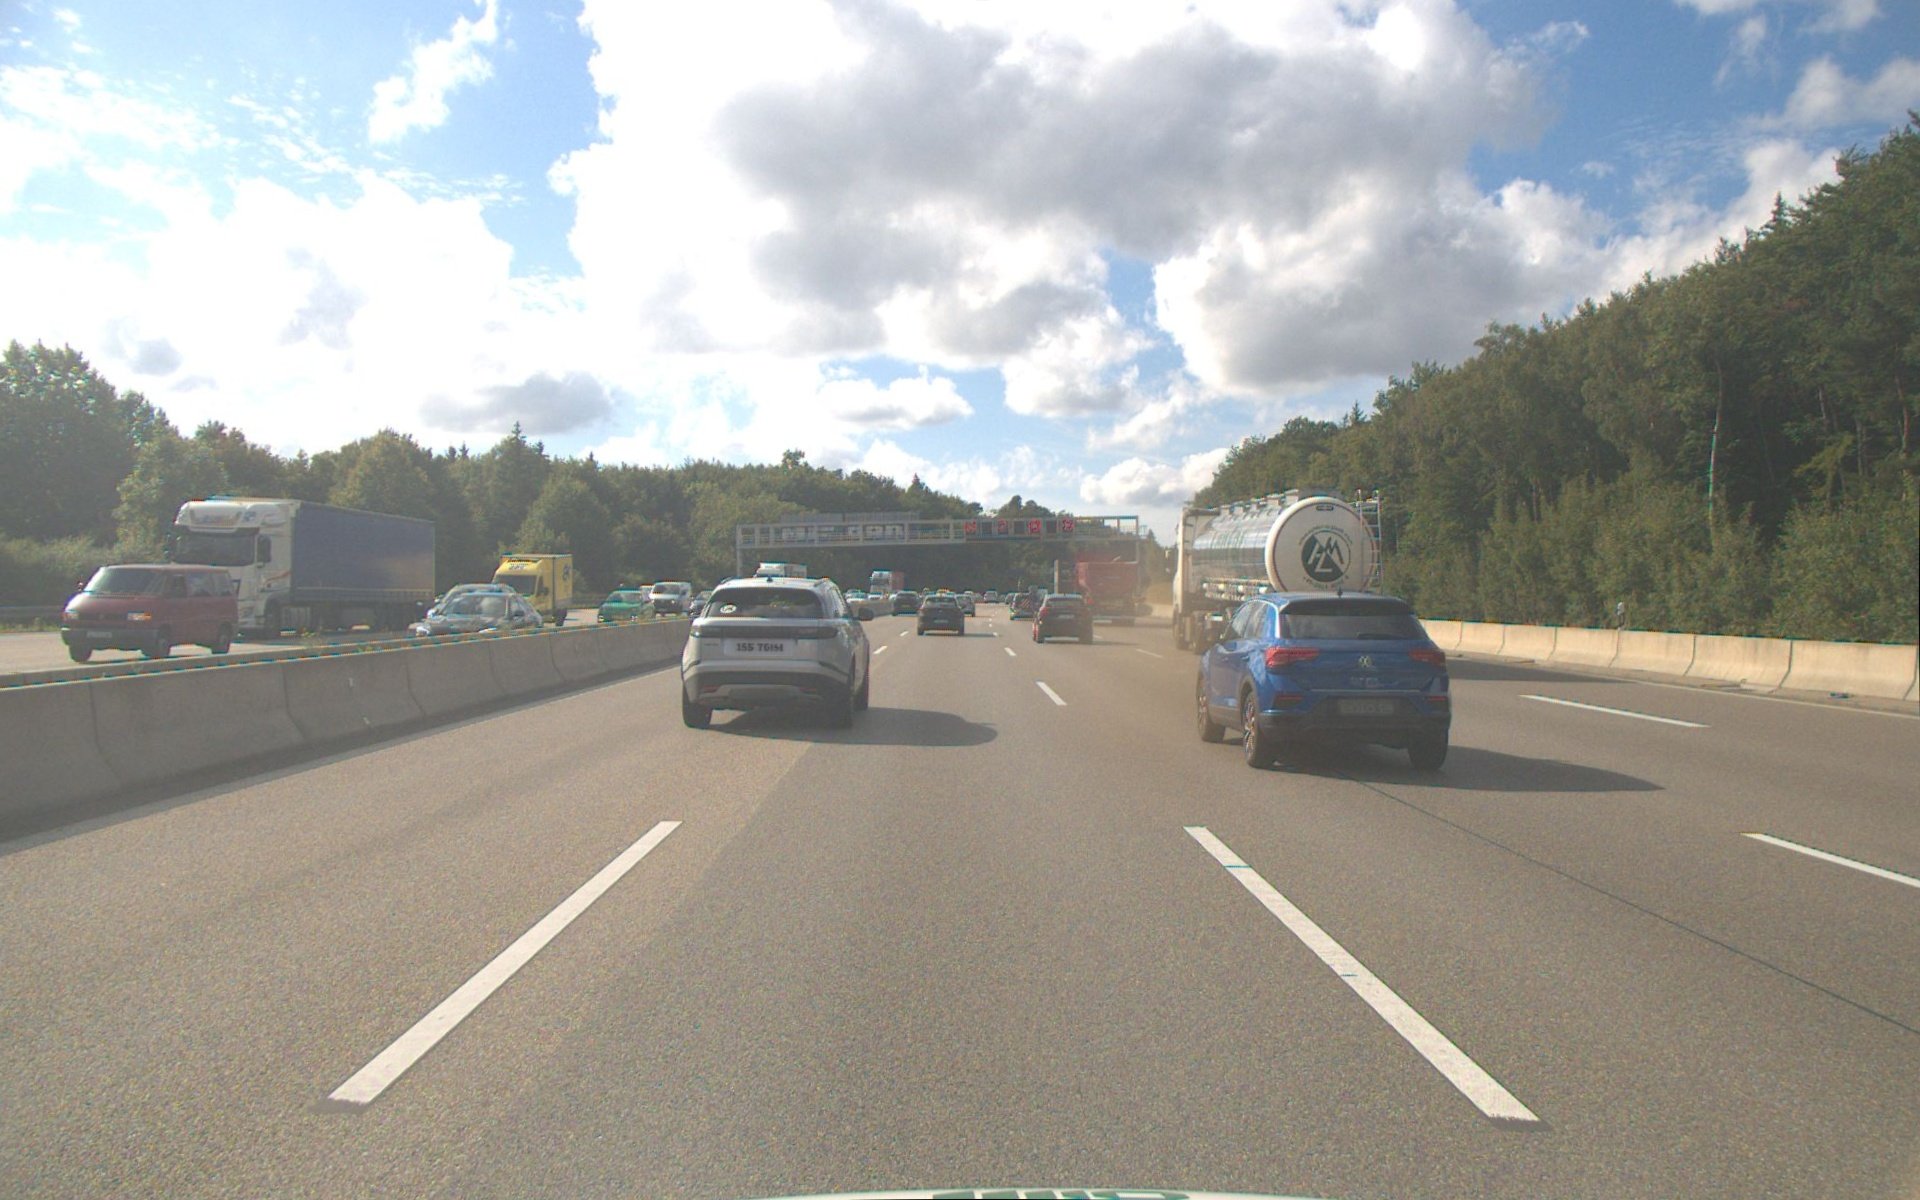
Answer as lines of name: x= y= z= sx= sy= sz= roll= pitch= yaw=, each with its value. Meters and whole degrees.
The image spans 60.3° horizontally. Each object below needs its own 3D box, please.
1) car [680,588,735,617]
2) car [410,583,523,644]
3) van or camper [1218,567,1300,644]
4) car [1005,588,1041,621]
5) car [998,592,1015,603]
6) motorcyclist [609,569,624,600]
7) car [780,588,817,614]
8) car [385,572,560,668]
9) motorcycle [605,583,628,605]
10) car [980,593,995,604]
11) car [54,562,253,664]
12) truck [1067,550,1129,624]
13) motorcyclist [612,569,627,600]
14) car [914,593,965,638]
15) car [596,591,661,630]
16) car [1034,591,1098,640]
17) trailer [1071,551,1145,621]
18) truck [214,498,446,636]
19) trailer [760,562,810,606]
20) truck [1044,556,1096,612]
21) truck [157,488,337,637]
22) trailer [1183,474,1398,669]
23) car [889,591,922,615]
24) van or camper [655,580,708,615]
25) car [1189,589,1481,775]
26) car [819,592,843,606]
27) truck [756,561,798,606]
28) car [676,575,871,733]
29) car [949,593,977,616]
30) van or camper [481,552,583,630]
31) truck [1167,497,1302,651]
car: x=-13.584 y=0.127 z=89.143 sx=2.126 sy=1.496 sz=4.787 roll=0 pitch=0 yaw=1
car: x=-14.059 y=0.350 z=47.407 sx=1.806 sy=1.624 sz=4.913 roll=-1 pitch=0 yaw=-1
van or camper: x=9.575 y=0.160 z=53.350 sx=1.785 sy=2.348 sz=4.939 roll=0 pitch=0 yaw=0
car: x=3.666 y=0.244 z=96.516 sx=1.855 sy=1.889 sz=4.099 roll=1 pitch=0 yaw=-1
car: x=6.067 y=-0.321 z=217.731 sx=2.034 sy=1.483 sz=4.000 roll=-1 pitch=0 yaw=0
motorcyclist: x=-16.656 y=-0.765 z=80.221 sx=0.590 sy=1.502 sz=0.532 roll=1 pitch=-1 yaw=1
car: x=-9.758 y=0.048 z=100.238 sx=1.825 sy=1.579 sz=4.661 roll=0 pitch=0 yaw=-1
car: x=-10.473 y=0.386 z=36.007 sx=2.126 sy=1.911 sz=5.362 roll=-1 pitch=0 yaw=1
motorcycle: x=-16.670 y=-0.296 z=80.235 sx=0.597 sy=1.058 sz=2.175 roll=0 pitch=0 yaw=1
car: x=3.868 y=-0.258 z=230.289 sx=2.034 sy=1.483 sz=4.001 roll=-1 pitch=0 yaw=1
car: x=-16.827 y=0.240 z=34.828 sx=1.809 sy=1.974 sz=5.032 roll=0 pitch=0 yaw=-1
truck: x=7.300 y=-0.709 z=88.123 sx=2.655 sy=3.783 sz=5.816 roll=1 pitch=1 yaw=-1
motorcyclist: x=-16.647 y=-0.762 z=80.831 sx=0.590 sy=1.502 sz=0.532 roll=1 pitch=-1 yaw=1
car: x=-0.783 y=0.554 z=60.594 sx=1.786 sy=1.573 sz=3.998 roll=0 pitch=0 yaw=-2
car: x=-13.487 y=0.407 z=67.475 sx=1.747 sy=1.496 sz=4.331 roll=-1 pitch=0 yaw=0
car: x=3.346 y=0.466 z=52.769 sx=1.785 sy=1.483 sz=4.000 roll=0 pitch=0 yaw=0
trailer: x=7.352 y=-0.732 z=83.235 sx=2.655 sy=3.287 sz=9.731 roll=1 pitch=1 yaw=-1
truck: x=-21.235 y=-1.041 z=57.016 sx=2.762 sy=4.166 sz=13.843 roll=0 pitch=0 yaw=0
trailer: x=-17.367 y=-1.572 z=165.279 sx=3.249 sy=4.178 sz=14.156 roll=0 pitch=0 yaw=1
truck: x=8.123 y=-1.171 z=123.797 sx=3.055 sy=4.003 sz=10.409 roll=0 pitch=0 yaw=-1
truck: x=-21.167 y=-1.077 z=49.467 sx=2.762 sy=4.166 sz=6.061 roll=0 pitch=0 yaw=-1
trailer: x=7.345 y=-0.596 z=38.678 sx=2.595 sy=3.833 sz=11.859 roll=0 pitch=0 yaw=0
car: x=-3.557 y=0.179 z=108.612 sx=1.902 sy=1.483 sz=4.000 roll=-1 pitch=0 yaw=1
van or camper: x=-16.144 y=-0.160 z=96.084 sx=1.952 sy=1.971 sz=5.459 roll=0 pitch=0 yaw=2
car: x=3.451 y=0.675 z=16.084 sx=1.737 sy=1.557 sz=4.456 roll=0 pitch=0 yaw=-1
car: x=-11.887 y=-0.096 z=152.292 sx=1.774 sy=1.181 sz=4.515 roll=0 pitch=0 yaw=1
truck: x=-17.461 y=-1.534 z=158.200 sx=3.249 sy=4.178 sz=6.225 roll=0 pitch=0 yaw=1
car: x=-2.096 y=0.556 z=19.992 sx=1.966 sy=1.644 sz=5.298 roll=0 pitch=0 yaw=-3
car: x=0.175 y=0.319 z=110.171 sx=1.785 sy=1.483 sz=3.999 roll=1 pitch=0 yaw=-1
van or camper: x=-17.073 y=-0.362 z=66.347 sx=2.325 sy=2.942 sz=6.506 roll=-1 pitch=0 yaw=0
truck: x=7.338 y=-0.684 z=44.906 sx=2.595 sy=3.890 sz=6.081 roll=0 pitch=0 yaw=-1
